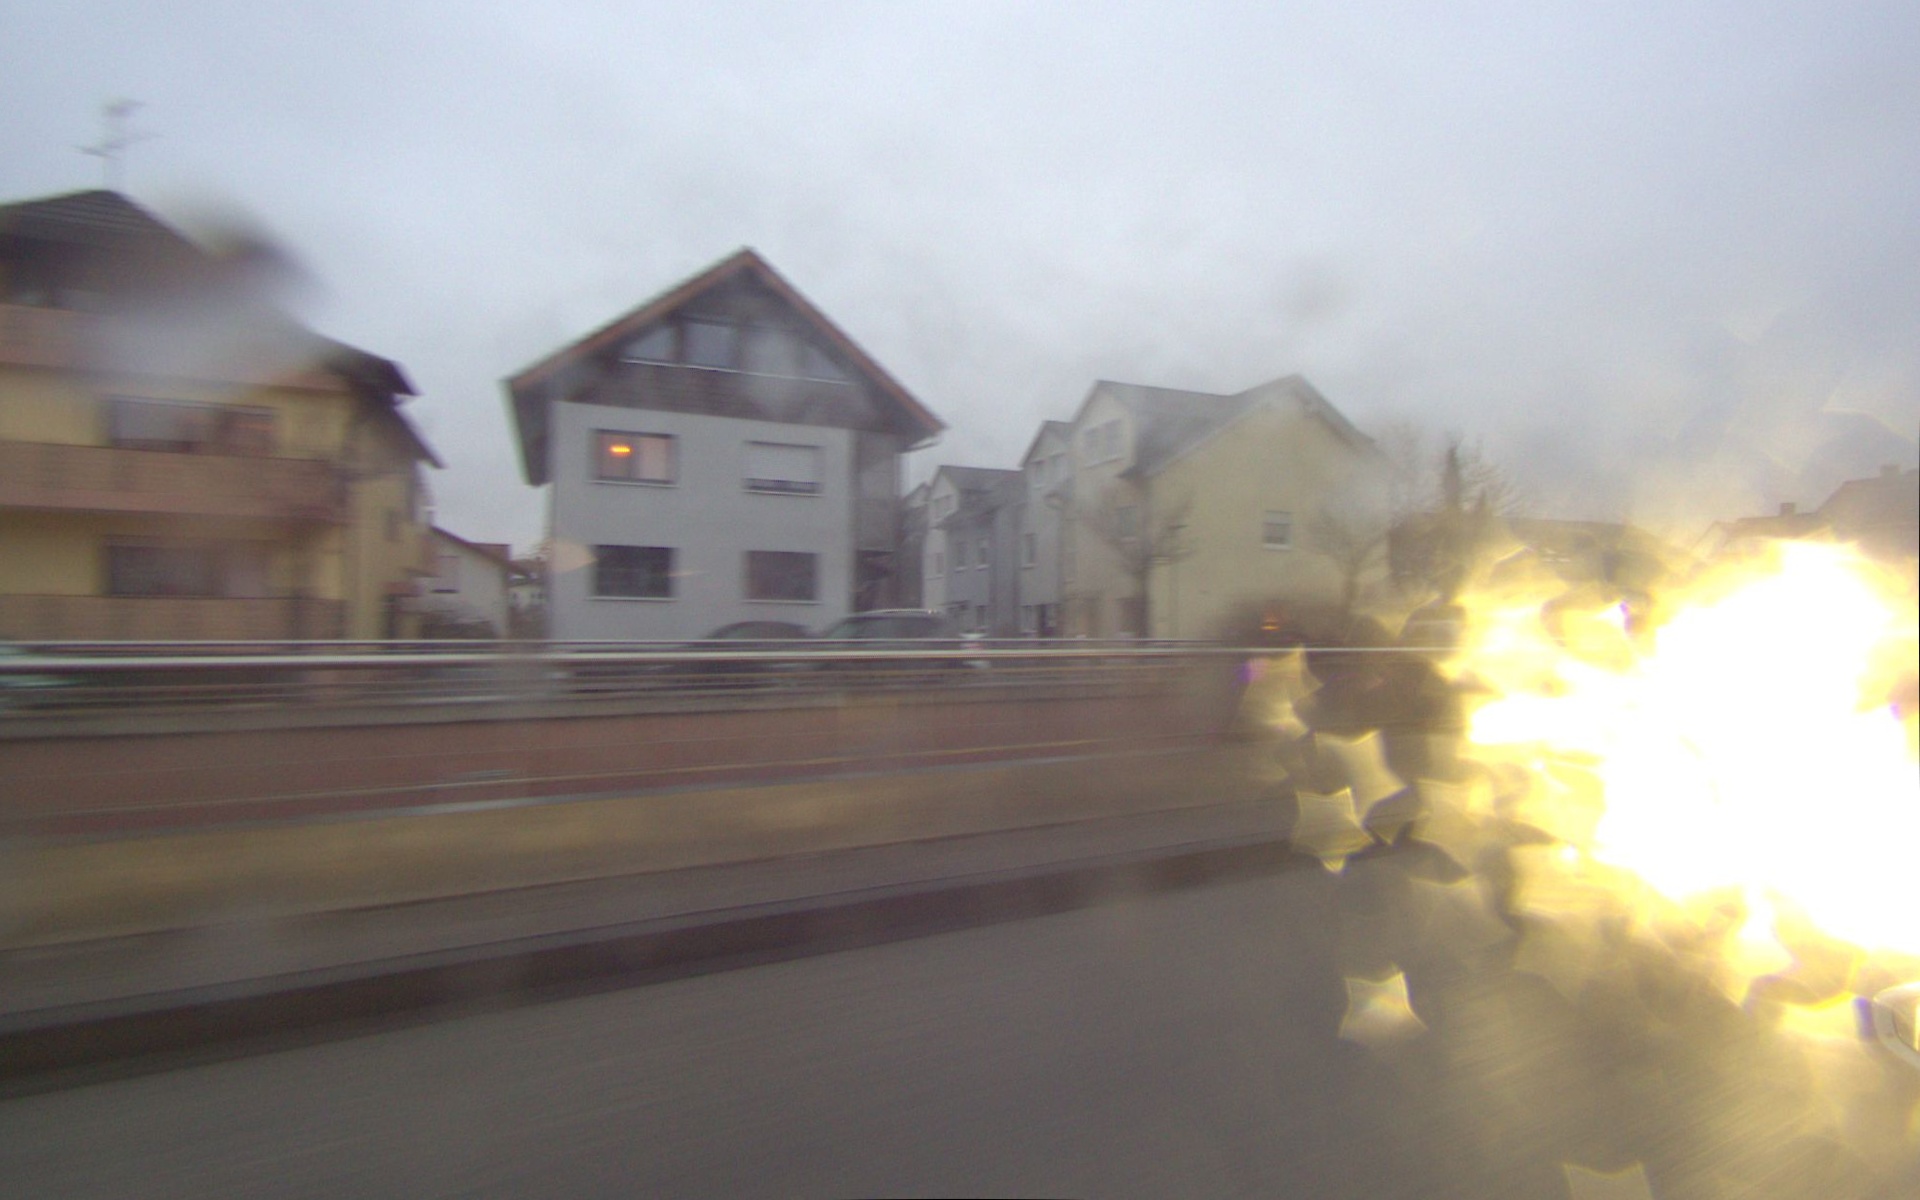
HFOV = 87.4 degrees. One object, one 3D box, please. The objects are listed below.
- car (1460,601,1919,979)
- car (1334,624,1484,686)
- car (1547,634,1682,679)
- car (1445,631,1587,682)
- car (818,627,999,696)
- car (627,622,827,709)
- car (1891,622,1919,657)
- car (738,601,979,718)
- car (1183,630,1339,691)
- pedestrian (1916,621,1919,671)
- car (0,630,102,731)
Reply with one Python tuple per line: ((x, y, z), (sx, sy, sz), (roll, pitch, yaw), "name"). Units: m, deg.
((4.904, 0.830, 5.909), (3.736, 1.557, 1.724), (1, 1, -30), "car")
((14.159, 1.705, 31.676), (4.441, 1.802, 1.869), (0, -3, -26), "car")
((23.313, 1.980, 35.767), (4.438, 1.452, 1.870), (0, -3, -24), "car")
((18.769, 1.888, 33.892), (4.438, 1.593, 1.870), (0, -3, -24), "car")
((-1.229, 1.449, 24.161), (3.980, 1.543, 1.762), (2, -2, -27), "car")
((-5.059, 1.346, 21.872), (3.948, 1.704, 1.852), (0, 0, -27), "car")
((48.601, 1.909, 49.167), (1.836, 1.716, 3.982), (0, -3, -20), "car")
((-1.748, 1.009, 17.586), (3.816, 1.827, 1.791), (2, -2, -31), "car")
((8.737, 1.726, 29.171), (4.168, 1.619, 1.869), (0, -3, -26), "car")
((35.079, 1.654, 35.950), (0.957, 1.808, 0.928), (0, 0, -17), "pedestrian")
((-16.346, 1.246, 15.693), (4.090, 1.525, 1.870), (1, -1, -27), "car")
